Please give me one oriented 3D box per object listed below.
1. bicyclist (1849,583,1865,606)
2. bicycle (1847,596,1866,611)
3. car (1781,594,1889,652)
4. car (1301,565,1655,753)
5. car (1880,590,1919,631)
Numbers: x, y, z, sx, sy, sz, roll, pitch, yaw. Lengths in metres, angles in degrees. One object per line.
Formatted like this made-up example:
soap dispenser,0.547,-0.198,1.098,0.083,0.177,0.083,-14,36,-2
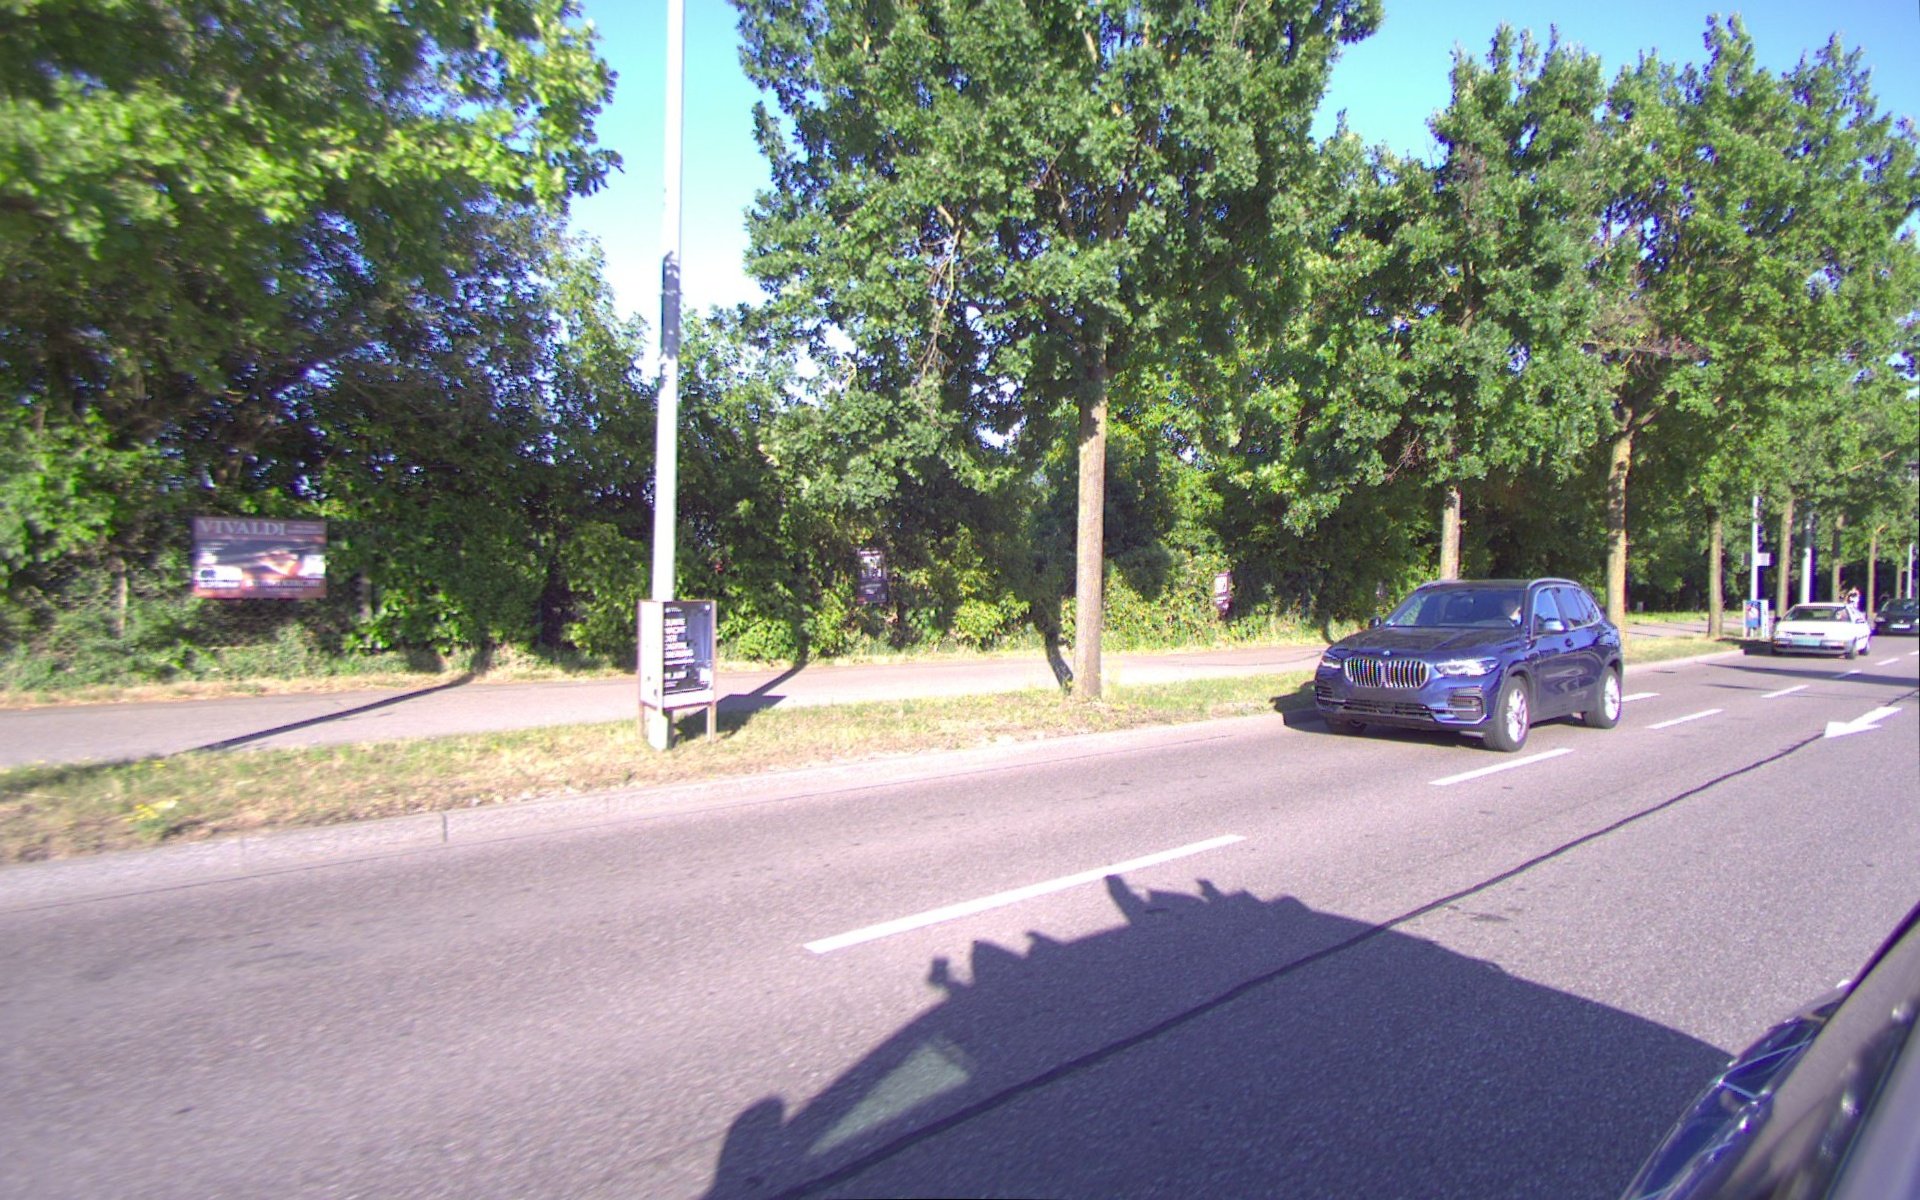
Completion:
bicyclist,58.868,-0.356,66.421,0.832,1.520,0.614,1,1,-38
bicycle,58.806,0.230,66.397,1.789,0.986,0.618,0,2,-39
car,23.198,0.605,26.791,3.967,1.416,1.614,2,0,-41
car,6.073,0.515,11.616,4.615,1.748,1.959,-1,1,-39
car,36.586,0.385,38.647,4.141,1.518,1.724,0,0,-41
